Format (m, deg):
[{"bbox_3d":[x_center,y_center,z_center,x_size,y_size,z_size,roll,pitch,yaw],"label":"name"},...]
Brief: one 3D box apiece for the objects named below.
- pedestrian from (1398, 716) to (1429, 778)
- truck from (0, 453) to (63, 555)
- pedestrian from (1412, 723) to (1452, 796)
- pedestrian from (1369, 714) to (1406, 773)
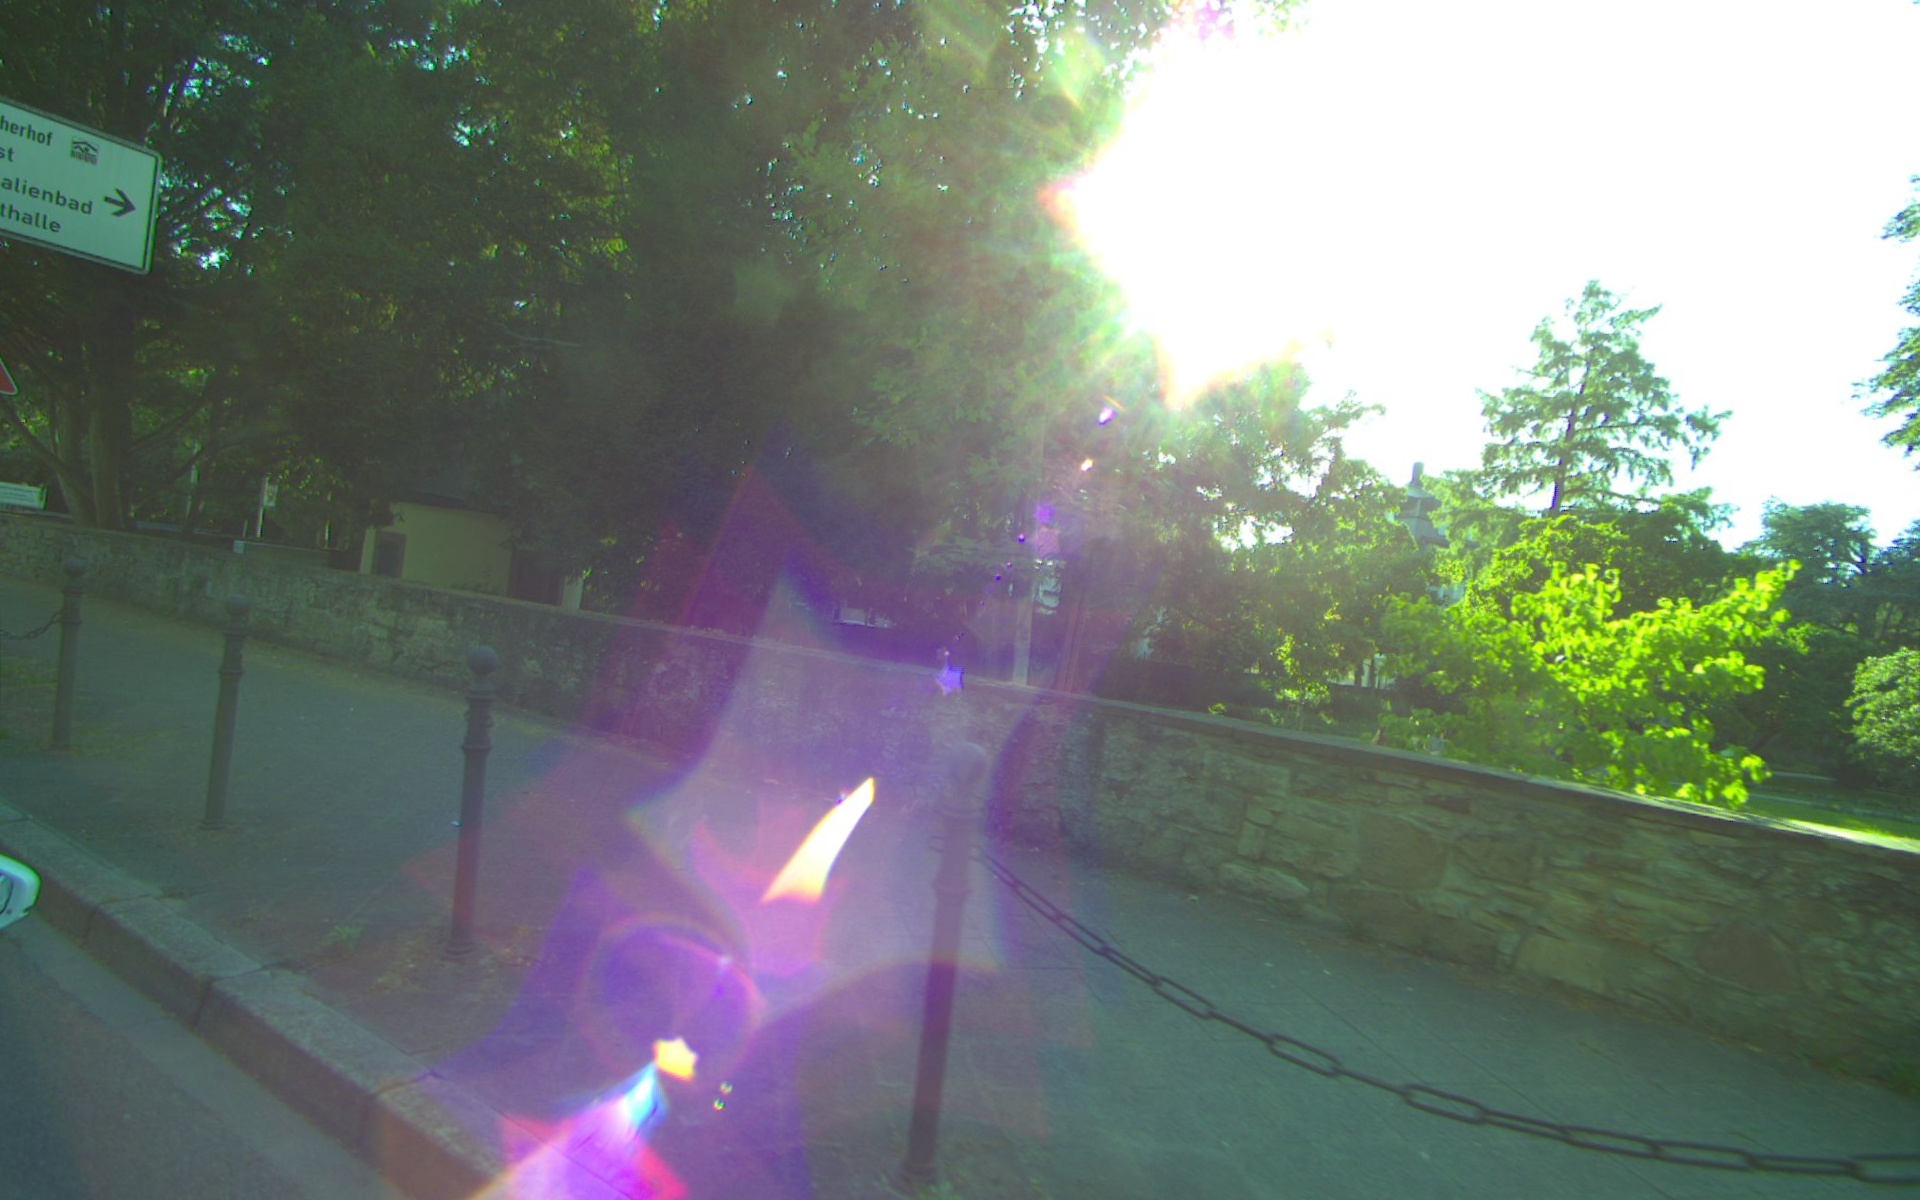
[{"bbox_3d":[13.561,4.402,30.081,0.588,1.749,0.591,7,-2,32],"label":"pedestrian"},{"bbox_3d":[-31.446,-3.371,29.865,2.396,2.927,6.594,7,-3,36],"label":"truck"},{"bbox_3d":[11.485,3.873,24.457,0.626,1.659,0.616,7,-2,33],"label":"pedestrian"},{"bbox_3d":[12.948,4.347,30.481,0.749,1.636,0.565,7,-2,36],"label":"pedestrian"}]
